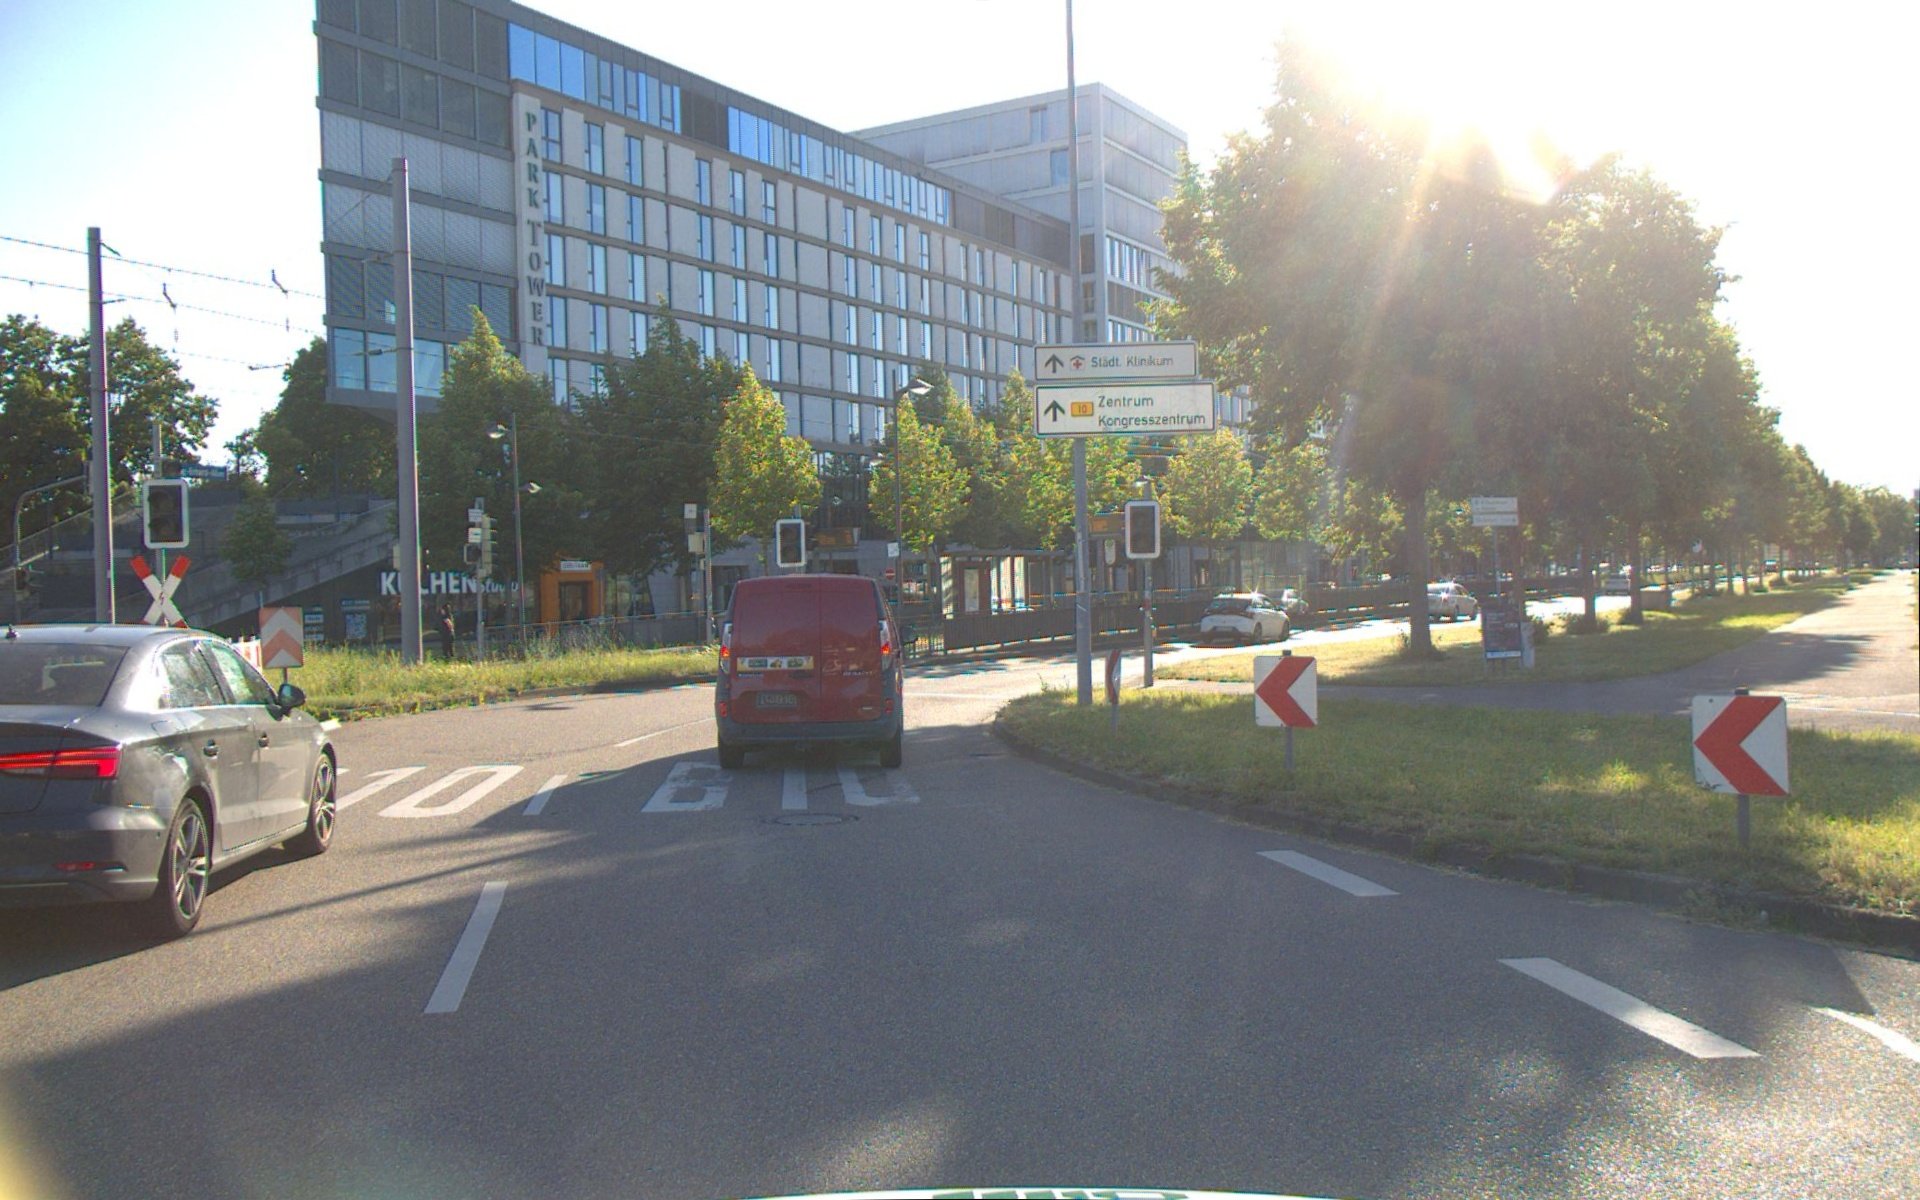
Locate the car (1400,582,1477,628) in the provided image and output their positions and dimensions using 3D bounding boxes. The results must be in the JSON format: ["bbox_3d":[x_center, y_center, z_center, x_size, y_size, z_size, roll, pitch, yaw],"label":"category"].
[{"bbox_3d":[19.337,0.183,66.682,1.956,1.602,4.400,-2,1,30],"label":"car"}]

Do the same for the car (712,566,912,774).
[{"bbox_3d":[-1.420,0.607,16.678,1.767,1.845,3.807,0,0,-3],"label":"car"}]

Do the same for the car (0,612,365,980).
[{"bbox_3d":[-4.425,0.798,8.566,1.728,1.404,4.349,-2,0,-9],"label":"car"}]

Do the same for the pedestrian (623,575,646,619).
[{"bbox_3d":[-15.167,-0.148,77.151,0.626,2.049,0.832,-1,1,32],"label":"pedestrian"}]

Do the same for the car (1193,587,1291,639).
[{"bbox_3d":[8.607,0.360,50.292,1.769,1.487,3.803,0,1,29],"label":"car"}]

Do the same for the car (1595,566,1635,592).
[{"bbox_3d":[44.572,-1.439,112.526,1.956,1.602,4.401,-2,1,29],"label":"car"}]

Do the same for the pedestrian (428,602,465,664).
[{"bbox_3d":[-12.697,0.806,40.882,0.544,1.491,0.676,-1,1,28],"label":"pedestrian"}]
